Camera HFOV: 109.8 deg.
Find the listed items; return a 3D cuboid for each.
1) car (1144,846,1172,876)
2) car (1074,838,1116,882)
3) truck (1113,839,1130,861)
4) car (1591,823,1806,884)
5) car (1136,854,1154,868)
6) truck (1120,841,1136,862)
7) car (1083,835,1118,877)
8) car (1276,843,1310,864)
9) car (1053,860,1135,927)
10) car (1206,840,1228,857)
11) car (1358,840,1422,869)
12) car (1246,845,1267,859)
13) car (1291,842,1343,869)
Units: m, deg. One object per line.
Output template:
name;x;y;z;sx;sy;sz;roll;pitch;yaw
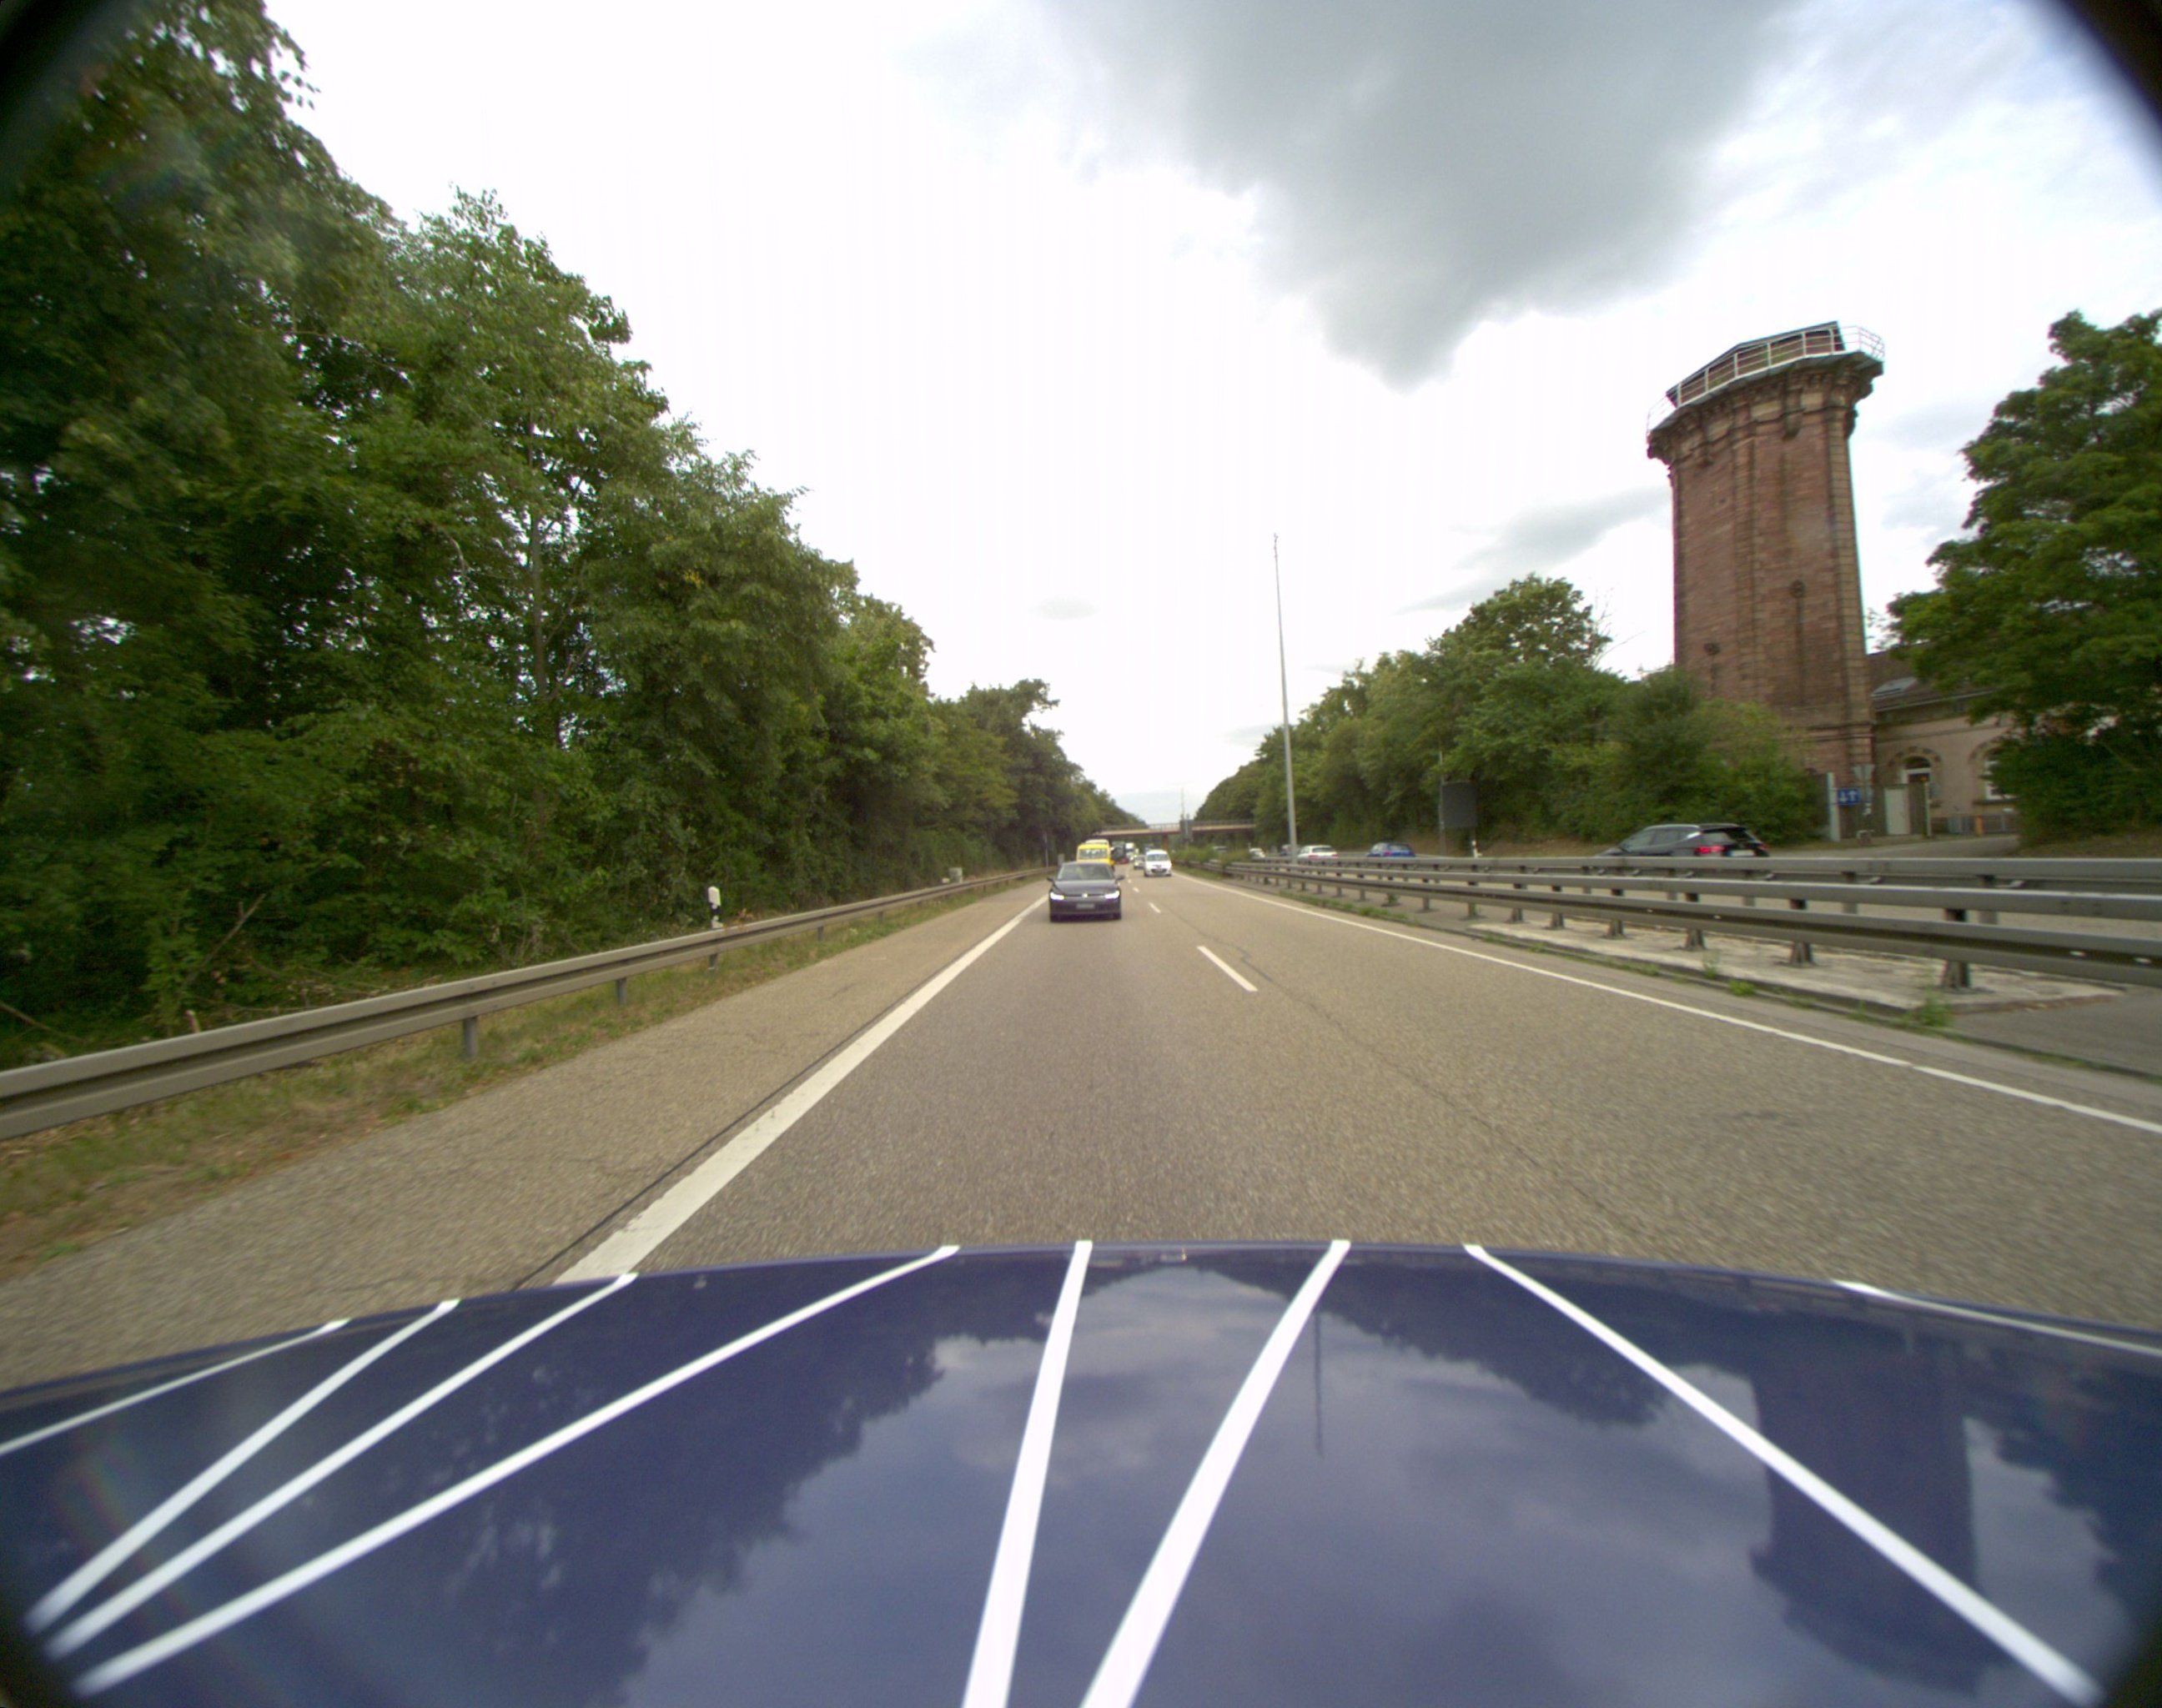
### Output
car;5.372;0.448;53.441;1.821;1.993;4.424;-2;1;5
car;0.876;0.303;44.248;2.247;2.334;5.224;-2;1;3
truck;7.073;-0.668;131.401;2.547;3.564;6.458;-2;1;5
car;14.956;-0.037;18.761;1.983;1.292;4.067;-2;1;-1
car;6.729;0.711;80.057;1.772;1.416;4.199;-2;1;5
truck;10.694;-0.542;171.580;3.098;4.462;12.212;-2;1;5
car;1.432;0.096;52.992;2.207;2.732;6.168;-2;1;3
car;17.409;-0.065;62.540;1.735;1.592;4.131;-2;1;1
car;0.222;0.926;19.690;1.801;1.398;4.638;-2;1;-3
car;15.068;-0.588;84.275;1.765;1.759;4.542;-2;1;3
car;16.775;-0.001;41.452;1.816;1.441;4.056;-2;1;1
car;19.441;-0.262;84.371;1.632;1.499;3.728;-2;1;2
car;13.180;0.071;42.630;1.716;1.418;4.056;-2;1;1
